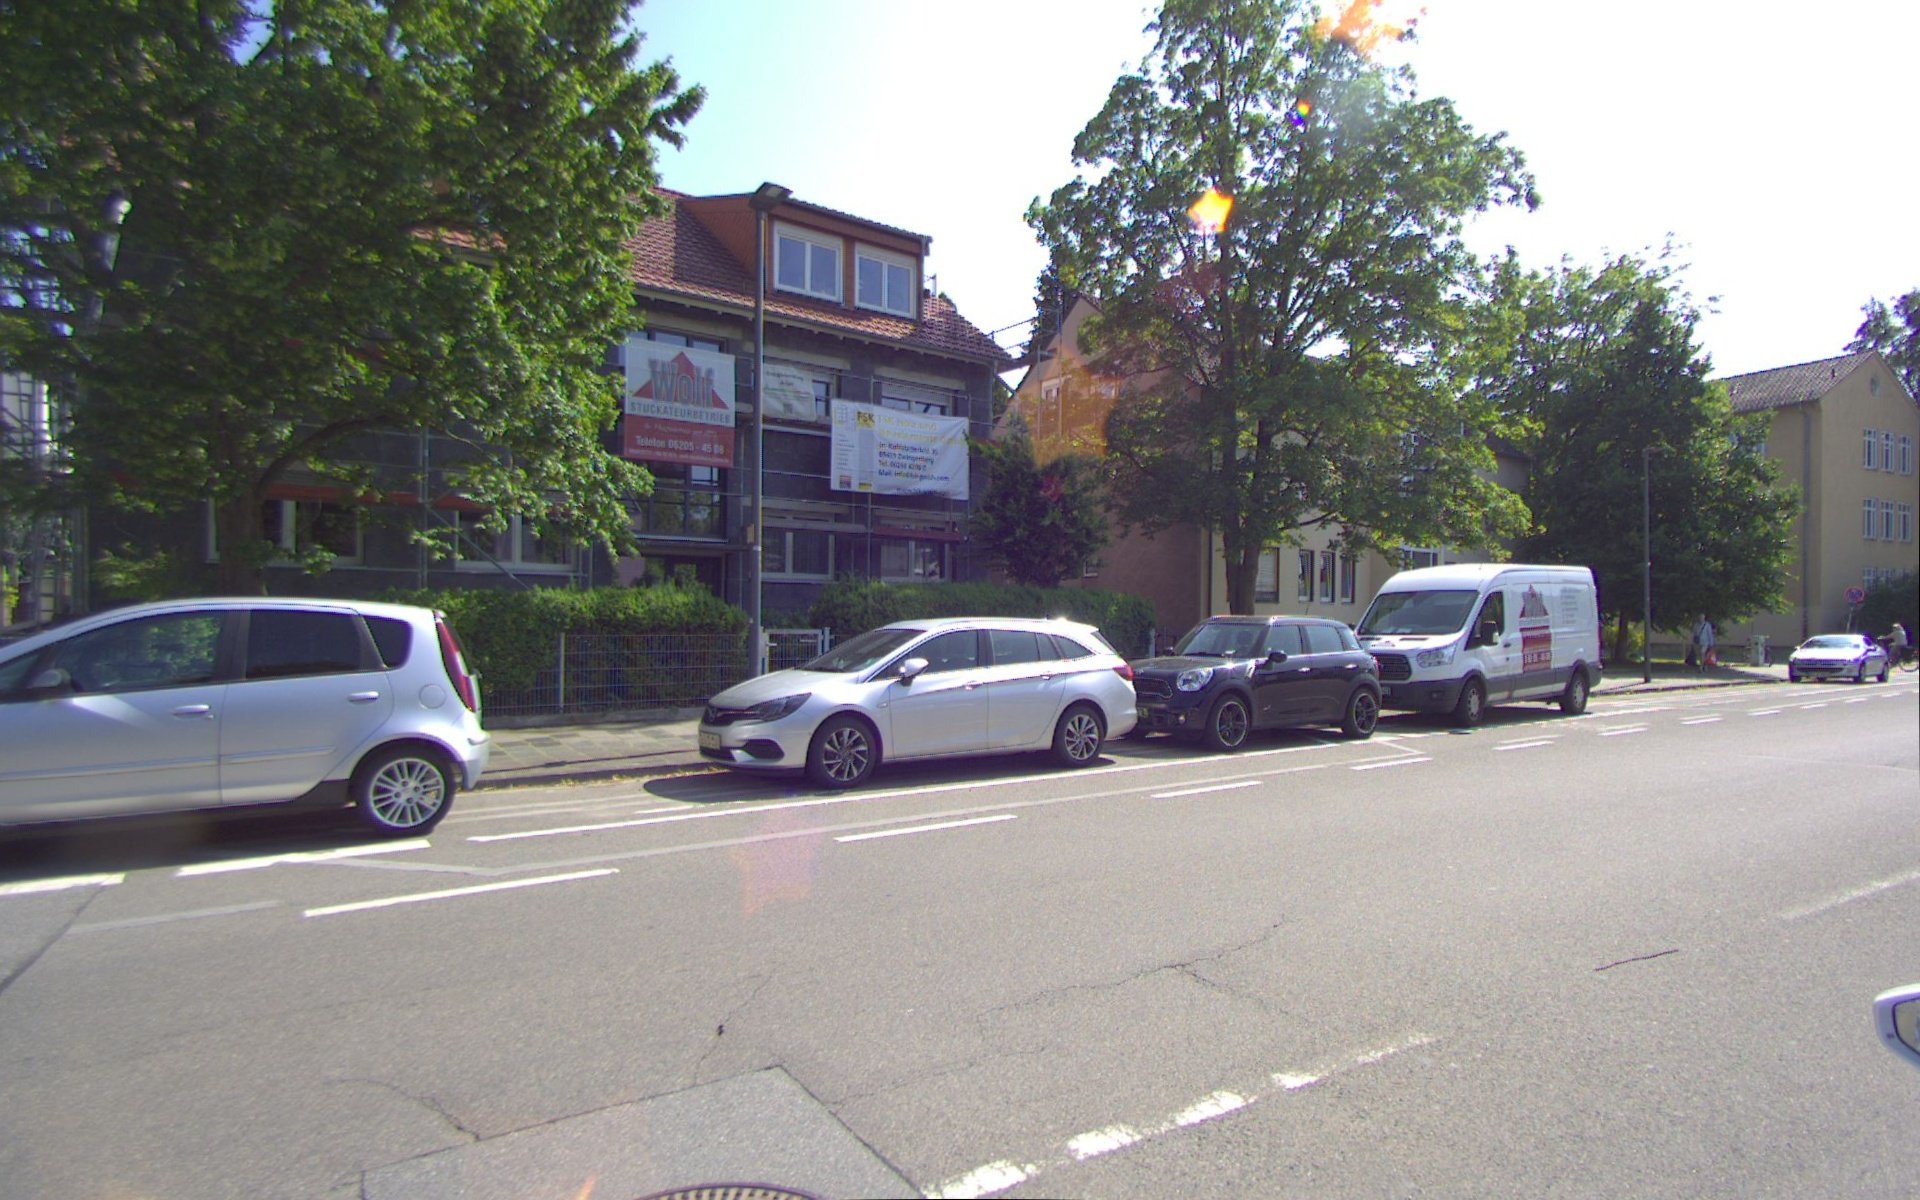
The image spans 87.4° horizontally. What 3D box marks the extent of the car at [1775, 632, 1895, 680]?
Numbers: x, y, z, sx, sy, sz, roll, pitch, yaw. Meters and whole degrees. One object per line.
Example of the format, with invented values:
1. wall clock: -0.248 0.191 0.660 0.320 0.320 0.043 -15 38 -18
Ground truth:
1. car: 25.670 1.597 29.436 3.959 1.283 1.709 1 -2 -34

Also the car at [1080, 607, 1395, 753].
1. car: 3.575 0.905 12.714 3.959 1.579 1.709 1 -2 -34

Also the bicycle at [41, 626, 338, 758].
1. bicycle: -7.333 0.846 9.712 2.215 1.154 0.510 1 -1 -33

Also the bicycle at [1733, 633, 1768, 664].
1. bicycle: 29.598 1.805 37.621 0.370 1.095 1.717 0 0 14

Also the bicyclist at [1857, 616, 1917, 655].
1. bicyclist: 34.227 1.297 37.109 0.946 1.422 1.349 0 -1 -21

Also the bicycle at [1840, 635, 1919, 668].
1. bicycle: 34.215 1.878 37.022 0.946 1.128 2.540 0 -1 -22

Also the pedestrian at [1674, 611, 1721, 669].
1. pedestrian: 23.180 1.246 31.579 0.717 1.803 0.969 1 -1 -30

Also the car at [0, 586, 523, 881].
1. car: -5.091 0.739 6.463 3.959 1.579 1.709 1 -2 -34

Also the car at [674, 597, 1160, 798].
1. car: -0.282 0.802 9.919 4.624 1.579 1.709 1 -2 -35

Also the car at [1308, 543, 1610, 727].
1. car: 8.307 0.532 16.422 5.899 2.529 2.073 1 -2 -38
